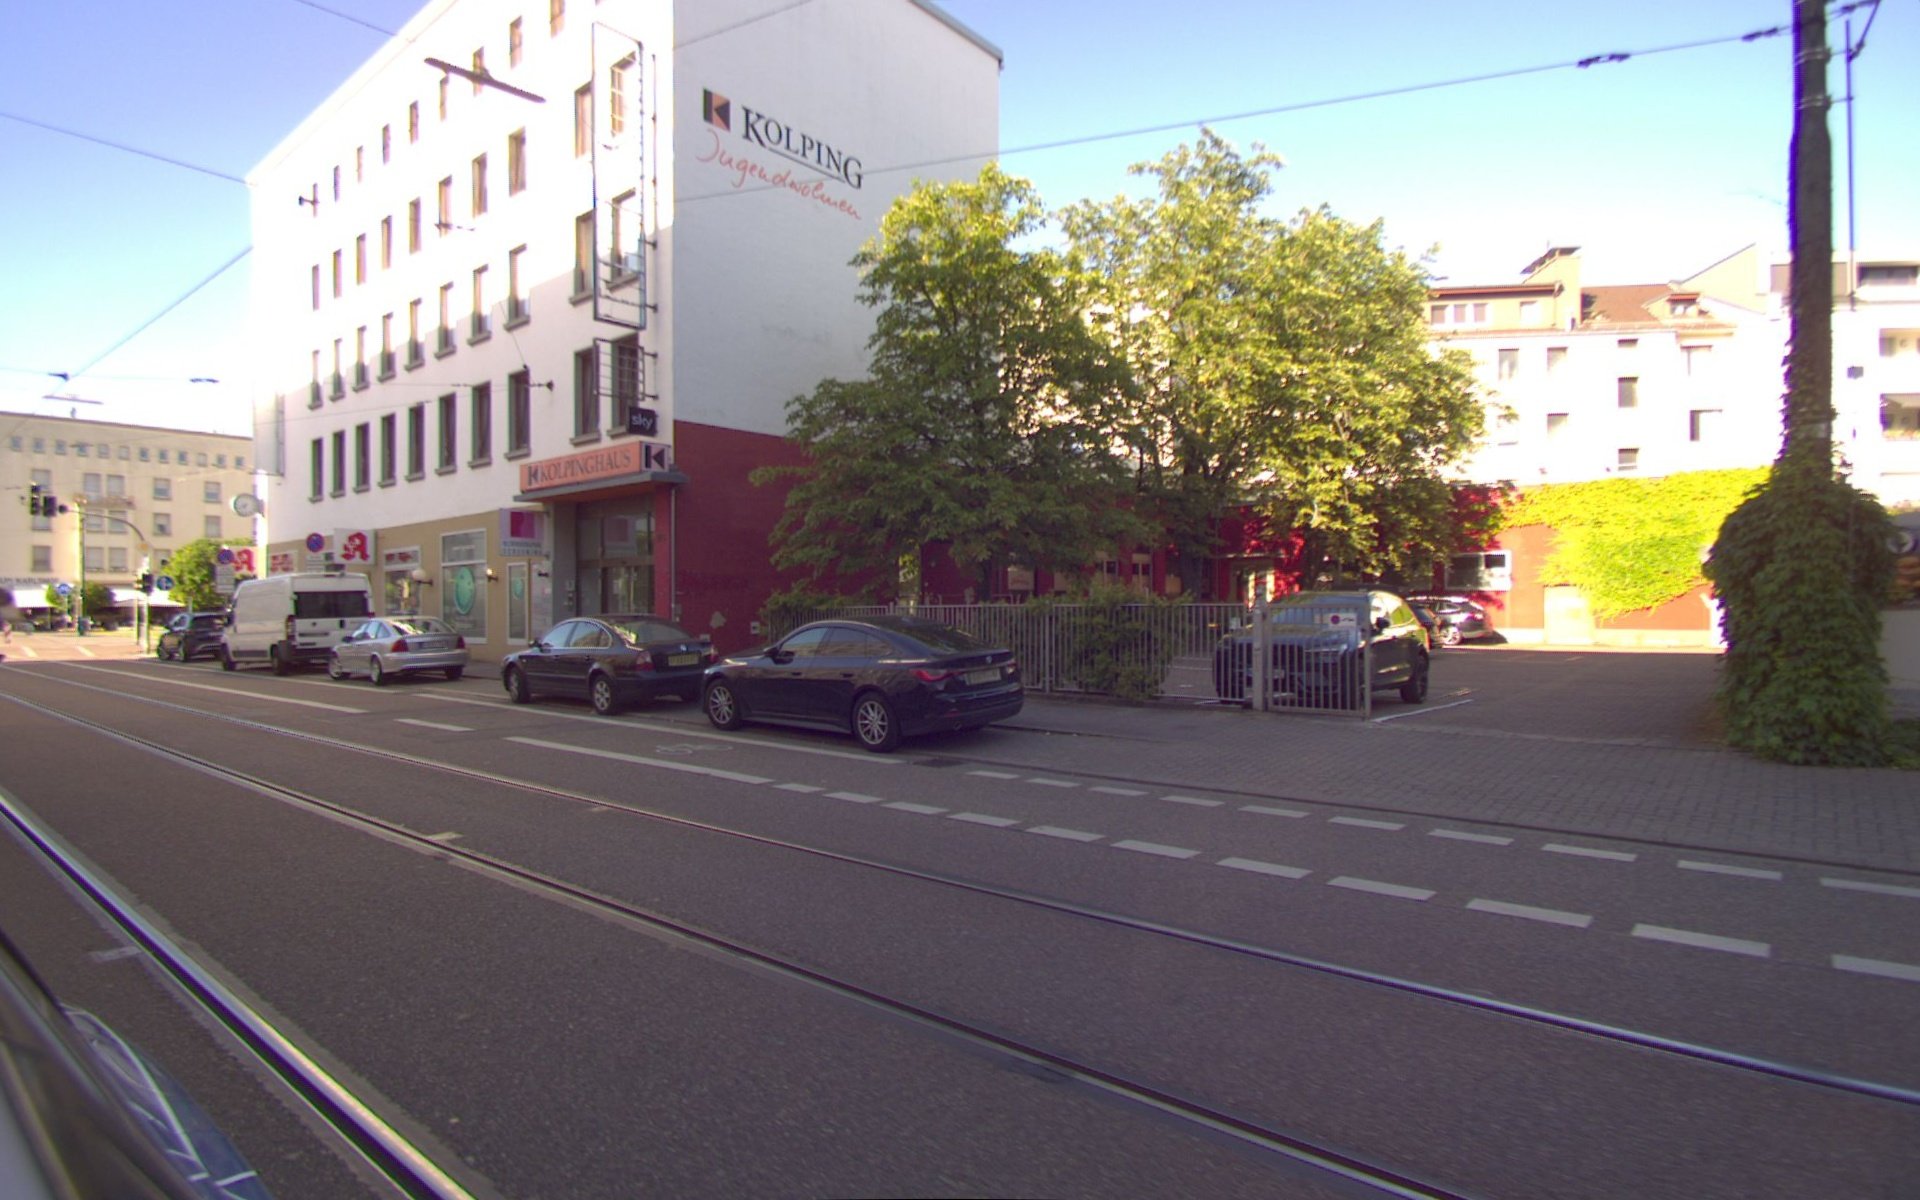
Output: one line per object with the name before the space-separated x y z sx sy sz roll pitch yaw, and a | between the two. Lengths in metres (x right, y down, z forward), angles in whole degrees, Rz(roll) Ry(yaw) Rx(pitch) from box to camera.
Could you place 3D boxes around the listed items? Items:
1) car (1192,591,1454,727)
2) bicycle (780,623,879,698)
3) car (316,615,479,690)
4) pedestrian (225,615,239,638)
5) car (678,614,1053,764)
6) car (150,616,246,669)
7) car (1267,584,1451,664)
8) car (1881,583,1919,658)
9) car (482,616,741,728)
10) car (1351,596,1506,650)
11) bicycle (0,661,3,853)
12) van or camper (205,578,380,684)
car | 5.255 0.702 14.319 2.000 1.609 4.315 -1 0 42
bicycle | -2.237 0.995 17.149 2.049 1.183 0.435 -1 0 42
car | -12.462 1.088 22.296 4.444 1.409 1.764 -1 1 42
pedestrian | -53.903 1.943 74.955 0.838 1.708 0.659 -1 -1 39
car | -1.343 0.950 12.546 4.839 1.456 1.765 -1 1 41
car | -25.142 1.363 33.343 3.991 1.564 1.764 -1 1 42
car | 10.295 0.610 26.213 4.140 1.908 1.750 -1 -1 36
car | 21.100 0.410 21.219 1.796 1.566 3.959 -1 0 30
car | -5.717 1.050 16.283 4.696 1.492 1.765 -1 1 40
car | 14.912 0.728 32.324 4.147 1.598 1.747 -1 -1 41
bicycle | -6.969 1.011 6.739 1.752 1.208 0.757 -1 -1 43
van or camper | -17.841 0.761 26.887 6.227 2.485 2.150 -1 1 40
